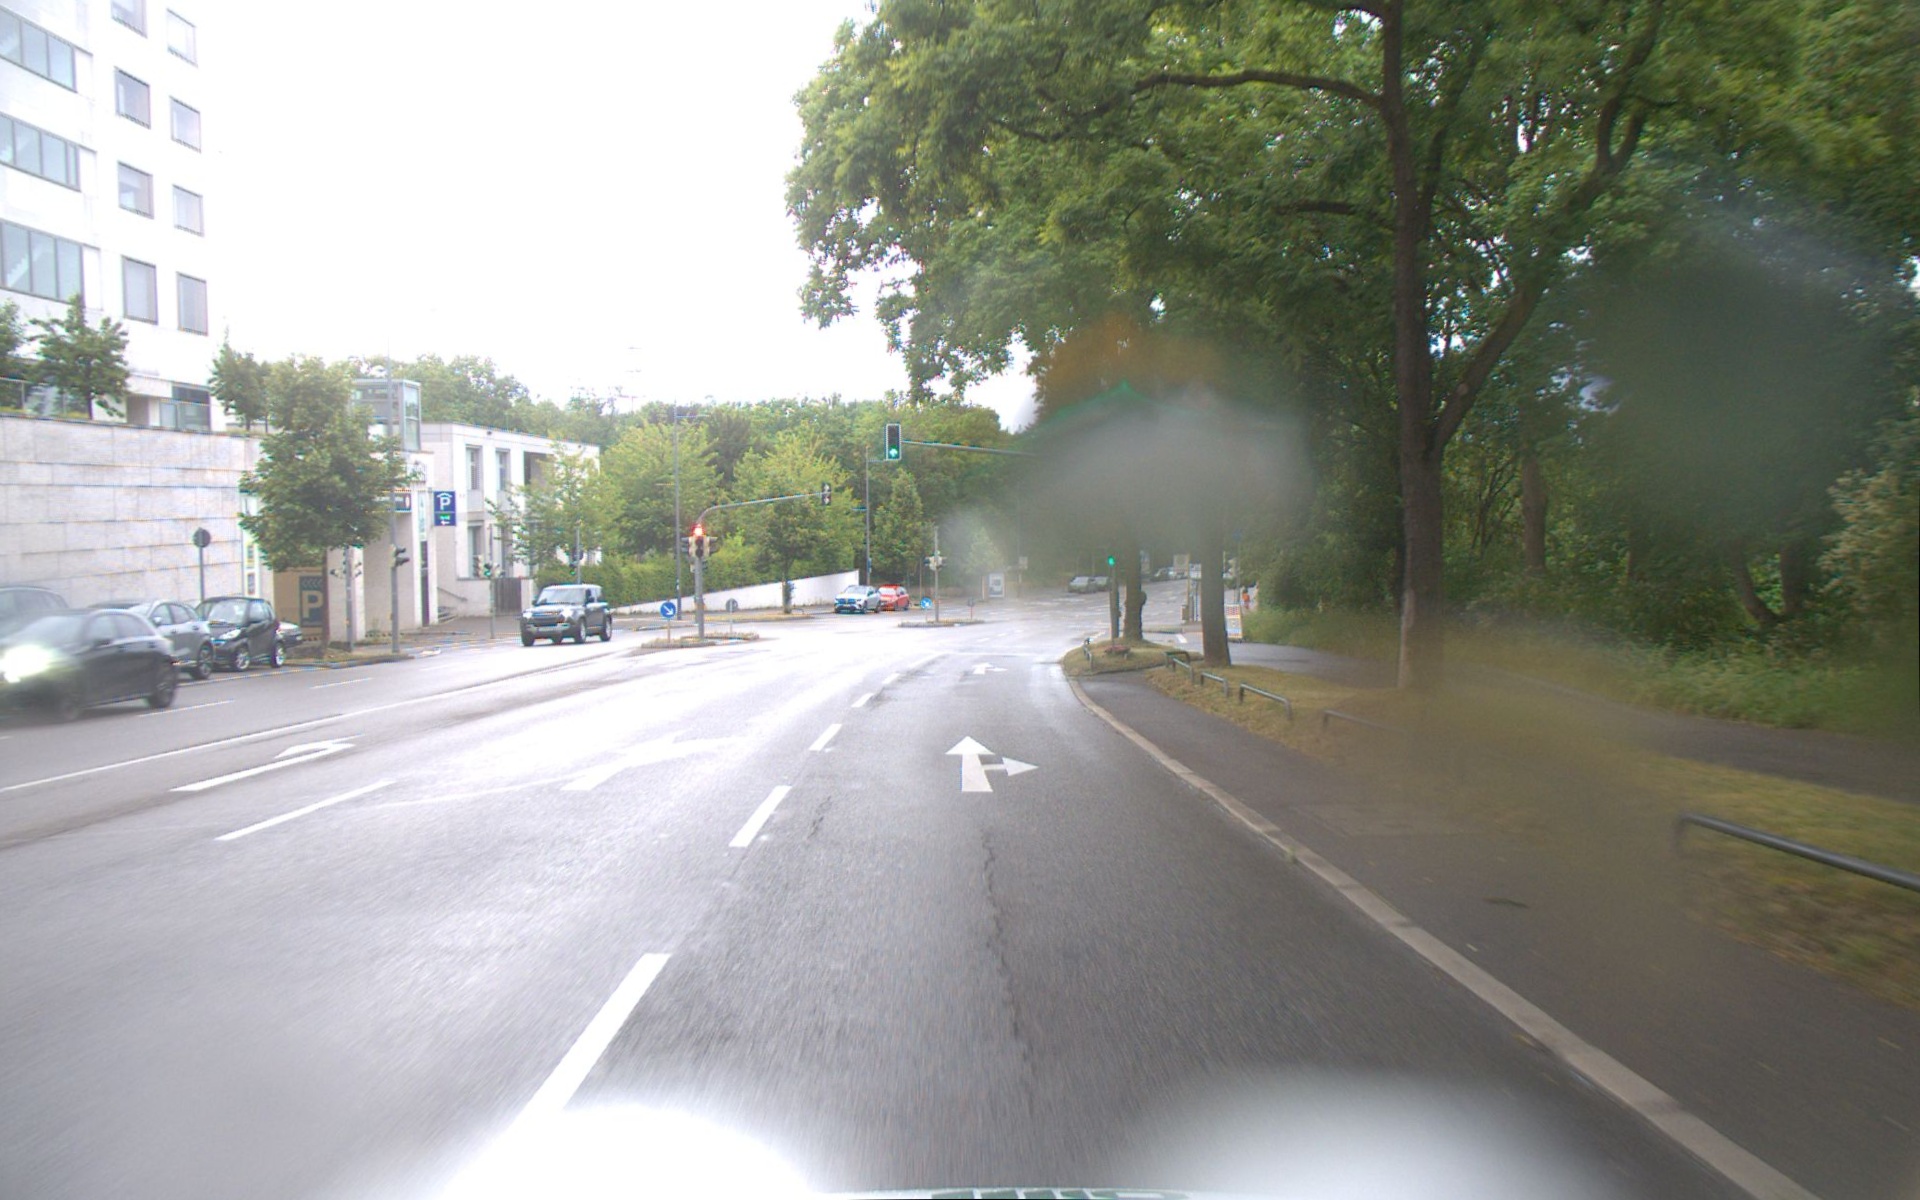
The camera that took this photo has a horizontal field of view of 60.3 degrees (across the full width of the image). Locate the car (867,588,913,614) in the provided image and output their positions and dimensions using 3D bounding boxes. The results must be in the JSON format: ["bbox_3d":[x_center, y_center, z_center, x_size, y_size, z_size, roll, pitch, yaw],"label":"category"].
[{"bbox_3d":[-4.504,0.061,107.575,1.835,1.602,4.226,2,1,14],"label":"car"}]

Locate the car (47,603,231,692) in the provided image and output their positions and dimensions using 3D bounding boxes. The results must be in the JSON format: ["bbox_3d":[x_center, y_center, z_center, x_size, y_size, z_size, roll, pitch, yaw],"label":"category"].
[{"bbox_3d":[-15.268,0.842,30.976,1.645,1.541,3.709,0,0,-1],"label":"car"}]

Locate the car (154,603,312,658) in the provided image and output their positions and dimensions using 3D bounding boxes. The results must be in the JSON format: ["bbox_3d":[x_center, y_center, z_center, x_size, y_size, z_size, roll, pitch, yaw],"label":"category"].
[{"bbox_3d":[-24.301,1.012,55.380,4.411,1.701,1.927,-1,0,-3],"label":"car"}]

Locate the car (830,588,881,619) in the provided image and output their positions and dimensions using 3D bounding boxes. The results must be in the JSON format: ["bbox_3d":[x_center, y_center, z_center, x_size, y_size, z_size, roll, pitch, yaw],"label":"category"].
[{"bbox_3d":[-6.325,0.193,100.536,1.814,1.668,4.097,3,2,16],"label":"car"}]

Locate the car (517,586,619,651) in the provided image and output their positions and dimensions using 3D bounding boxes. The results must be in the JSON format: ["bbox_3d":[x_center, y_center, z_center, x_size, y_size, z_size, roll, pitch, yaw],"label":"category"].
[{"bbox_3d":[-12.768,0.559,54.180,1.881,1.889,4.509,-4,0,4],"label":"car"}]

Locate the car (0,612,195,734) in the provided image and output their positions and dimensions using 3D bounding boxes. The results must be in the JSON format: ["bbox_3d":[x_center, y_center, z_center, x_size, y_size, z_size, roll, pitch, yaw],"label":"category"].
[{"bbox_3d":[-12.127,0.931,22.239,1.734,1.405,4.189,-2,0,-1],"label":"car"}]

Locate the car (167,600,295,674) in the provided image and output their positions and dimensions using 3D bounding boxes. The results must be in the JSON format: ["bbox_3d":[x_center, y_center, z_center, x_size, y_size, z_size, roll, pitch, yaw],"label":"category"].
[{"bbox_3d":[-15.910,0.779,36.226,1.477,1.541,2.980,0,0,-1],"label":"car"}]

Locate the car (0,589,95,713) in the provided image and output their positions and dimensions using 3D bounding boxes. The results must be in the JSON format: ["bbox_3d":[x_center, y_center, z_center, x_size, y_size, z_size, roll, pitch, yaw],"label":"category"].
[{"bbox_3d":[-15.005,0.743,24.766,1.819,1.812,4.595,0,0,-2],"label":"car"}]

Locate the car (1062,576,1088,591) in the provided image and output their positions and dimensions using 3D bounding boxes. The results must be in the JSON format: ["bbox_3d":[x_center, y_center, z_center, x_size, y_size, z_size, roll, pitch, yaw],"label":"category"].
[{"bbox_3d":[11.147,-1.595,159.844,1.677,1.486,3.752,0,0,17],"label":"car"}]
